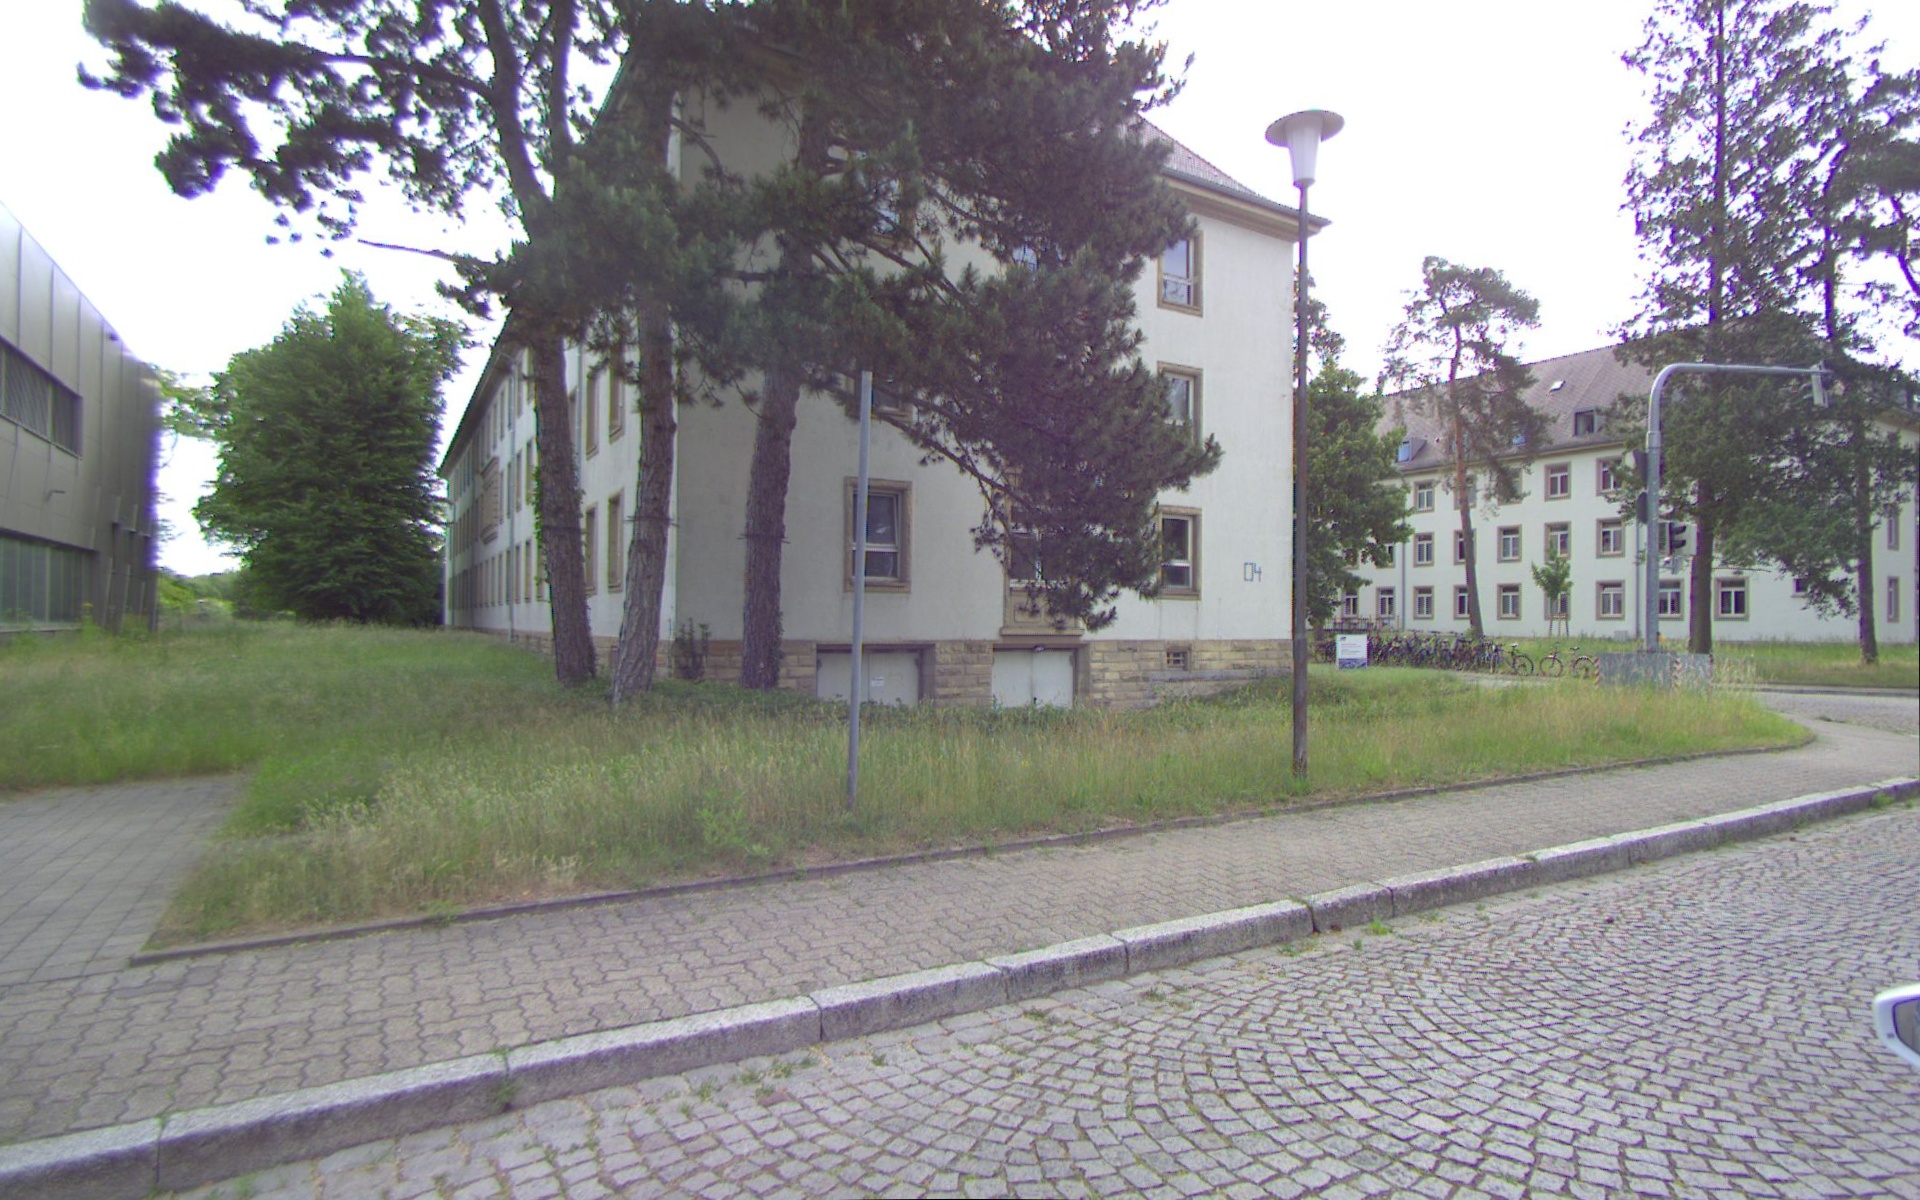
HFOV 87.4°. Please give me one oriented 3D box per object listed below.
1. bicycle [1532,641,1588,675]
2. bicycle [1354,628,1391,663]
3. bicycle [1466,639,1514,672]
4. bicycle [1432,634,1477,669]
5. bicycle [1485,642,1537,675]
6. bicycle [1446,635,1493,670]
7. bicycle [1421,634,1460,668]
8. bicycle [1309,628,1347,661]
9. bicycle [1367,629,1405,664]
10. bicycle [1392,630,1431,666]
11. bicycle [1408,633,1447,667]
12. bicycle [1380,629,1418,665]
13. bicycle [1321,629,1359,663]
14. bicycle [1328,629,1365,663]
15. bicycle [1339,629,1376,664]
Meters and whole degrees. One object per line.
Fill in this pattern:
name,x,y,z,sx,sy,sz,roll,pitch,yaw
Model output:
bicycle,18.485,1.782,30.967,0.447,1.009,1.453,1,-1,-29
bicycle,15.702,1.734,38.211,1.677,1.300,0.446,1,-1,-33
bicycle,18.134,1.872,34.353,1.975,1.092,0.571,1,-1,-33
bicycle,17.443,1.813,35.425,1.909,1.193,0.524,1,-1,-33
bicycle,17.689,1.864,32.265,0.447,1.009,1.453,1,-1,-29
bicycle,17.701,1.816,34.898,1.933,1.193,0.571,1,-1,-33
bicycle,17.135,1.821,35.835,1.677,1.193,0.446,1,-1,-33
bicycle,14.663,1.773,40.015,1.808,1.300,0.446,1,-1,-33
bicycle,16.008,1.738,37.740,1.677,1.300,0.446,1,-1,-33
bicycle,16.598,1.748,36.909,1.677,1.300,0.446,1,-1,-33
bicycle,16.871,1.804,36.241,1.677,1.193,0.446,1,-1,-33
bicycle,16.306,1.743,37.321,1.677,1.300,0.446,1,-1,-33
bicycle,15.010,1.800,39.687,1.766,1.300,0.440,1,-1,-33
bicycle,15.083,1.777,39.179,1.677,1.300,0.446,1,-1,-33
bicycle,15.341,1.782,38.767,1.677,1.300,0.446,1,-1,-33
